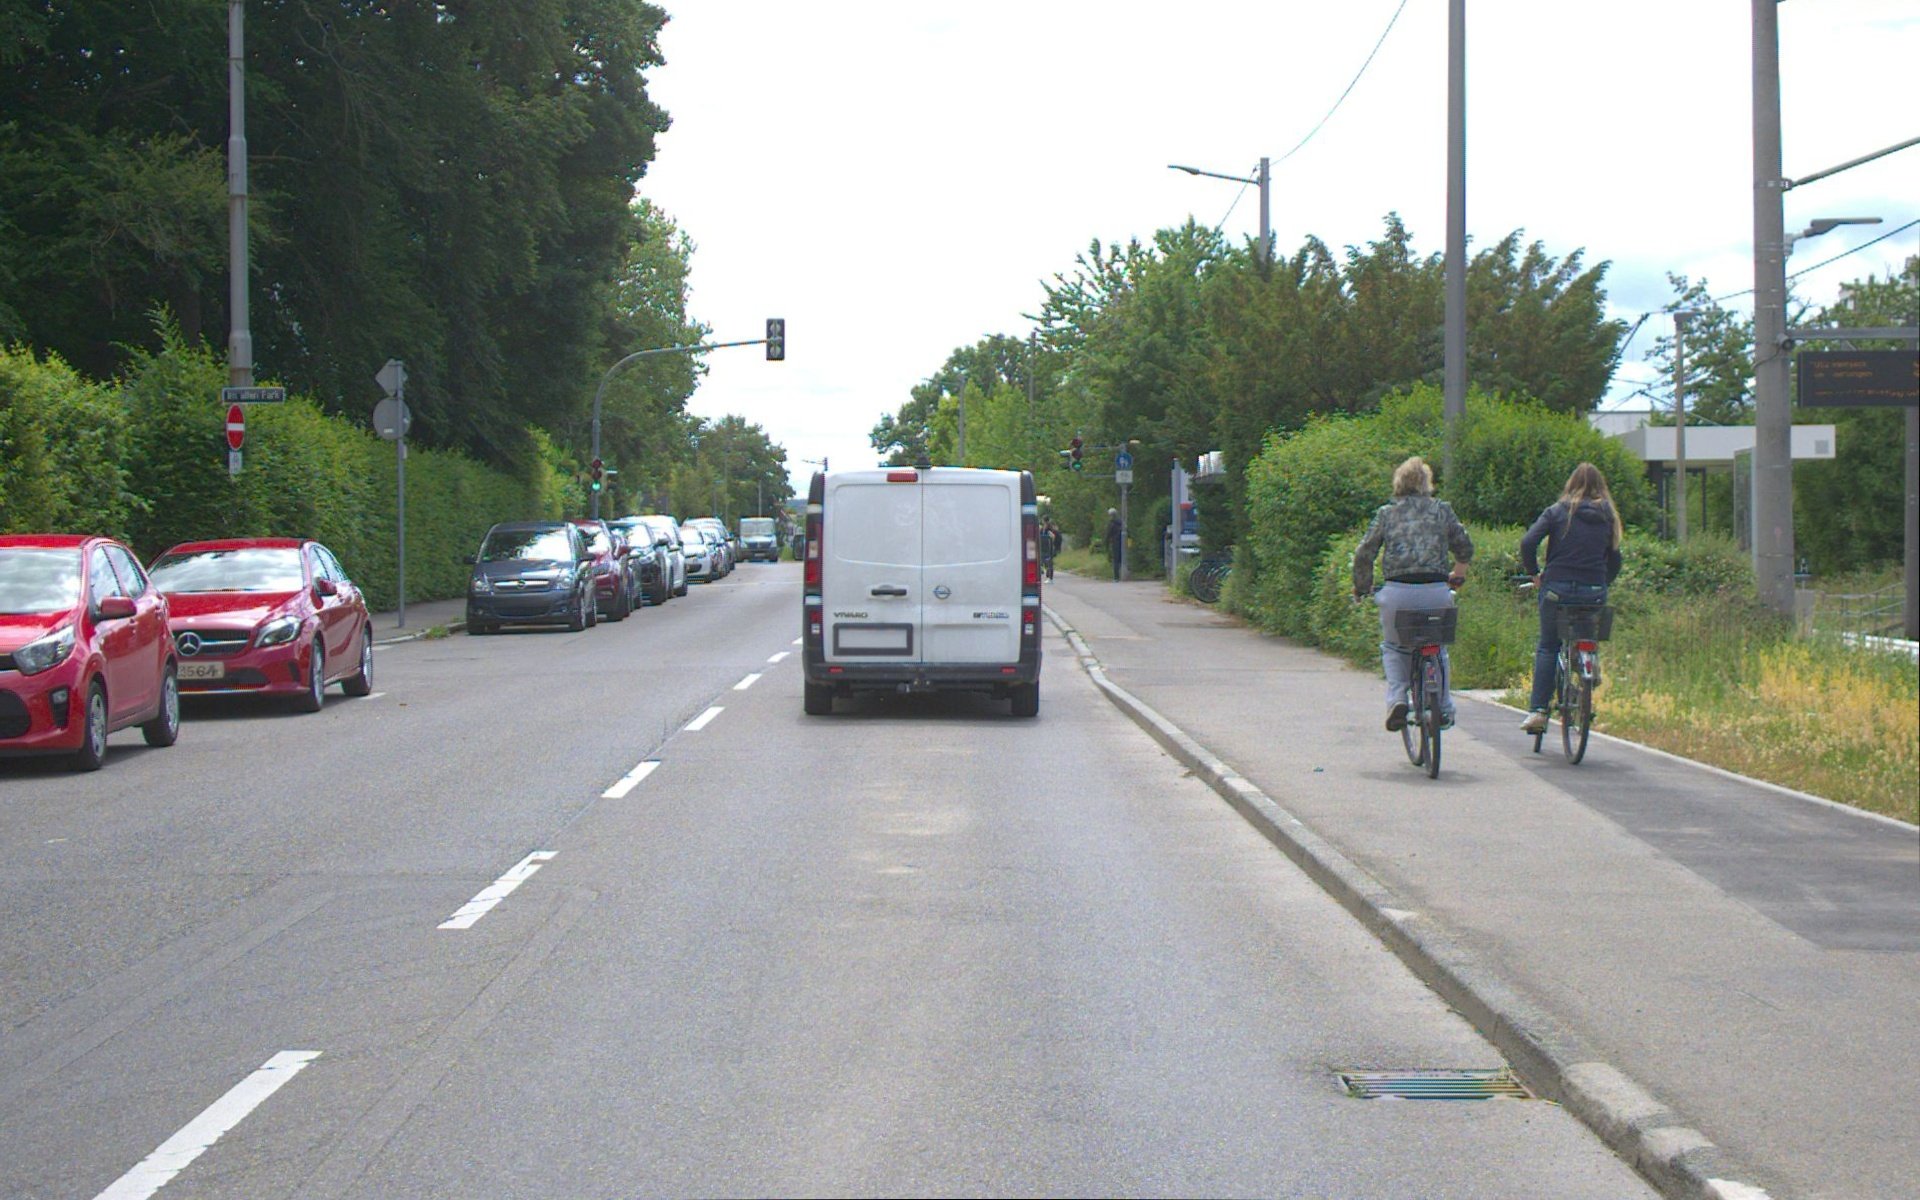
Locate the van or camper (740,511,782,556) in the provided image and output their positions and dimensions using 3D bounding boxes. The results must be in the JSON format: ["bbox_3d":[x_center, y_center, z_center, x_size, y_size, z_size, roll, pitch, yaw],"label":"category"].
[{"bbox_3d":[-10.136,-3.381,174.797,2.004,2.253,4.613,-1,1,-5],"label":"van or camper"}]

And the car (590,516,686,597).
[{"bbox_3d":[-6.763,-0.936,72.527,1.761,1.651,3.815,-1,1,-2],"label":"car"}]

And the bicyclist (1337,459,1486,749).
[{"bbox_3d":[2.551,0.012,19.501,0.717,1.606,0.757,1,1,-1],"label":"bicyclist"}]

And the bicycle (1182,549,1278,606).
[{"bbox_3d":[4.943,-0.420,63.072,1.698,1.027,0.491,1,1,-1],"label":"bicycle"}]

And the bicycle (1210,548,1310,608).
[{"bbox_3d":[5.288,-0.392,60.670,1.698,1.027,0.491,1,1,-1],"label":"bicycle"}]

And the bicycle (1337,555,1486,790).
[{"bbox_3d":[2.558,0.380,19.650,0.546,1.242,2.055,1,1,-1],"label":"bicycle"}]

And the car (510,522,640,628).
[{"bbox_3d":[-6.296,-0.443,56.554,1.761,1.651,4.061,-1,1,-2],"label":"car"}]

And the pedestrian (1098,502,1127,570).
[{"bbox_3d":[3.829,-1.602,86.271,0.674,1.690,0.522,1,1,4],"label":"pedestrian"}]

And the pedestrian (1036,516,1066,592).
[{"bbox_3d":[2.231,-1.123,84.171,0.680,1.834,0.645,1,1,6],"label":"pedestrian"}]

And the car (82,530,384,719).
[{"bbox_3d":[-6.091,0.153,29.245,1.761,1.466,4.186,-1,1,-2],"label":"car"}]

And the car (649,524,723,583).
[{"bbox_3d":[-7.399,-1.281,93.064,1.761,1.551,3.815,-1,1,-2],"label":"car"}]

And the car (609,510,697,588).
[{"bbox_3d":[-7.075,-1.190,79.494,1.761,1.750,3.815,-1,1,-2],"label":"car"}]

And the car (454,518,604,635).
[{"bbox_3d":[-6.304,-0.376,50.642,1.761,1.620,4.186,-1,1,-2],"label":"car"}]

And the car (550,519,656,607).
[{"bbox_3d":[-6.932,-0.738,67.041,1.761,1.651,3.815,-1,1,-2],"label":"car"}]

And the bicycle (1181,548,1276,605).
[{"bbox_3d":[4.969,-0.434,63.629,1.698,1.027,0.491,1,1,-1],"label":"bicycle"}]

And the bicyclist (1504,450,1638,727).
[{"bbox_3d":[3.710,-0.078,20.912,0.639,1.644,0.819,1,1,-1],"label":"bicyclist"}]

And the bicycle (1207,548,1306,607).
[{"bbox_3d":[5.274,-0.401,61.226,1.698,1.027,0.491,1,1,-1],"label":"bicycle"}]

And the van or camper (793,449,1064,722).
[{"bbox_3d":[-0.236,-0.132,28.171,1.993,2.007,4.446,2,1,0],"label":"van or camper"}]

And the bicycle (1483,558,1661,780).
[{"bbox_3d":[3.720,0.385,21.070,0.618,1.242,2.396,1,1,-1],"label":"bicycle"}]

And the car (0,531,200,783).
[{"bbox_3d":[-6.167,0.317,22.364,1.588,1.499,3.515,-1,1,1],"label":"car"}]
